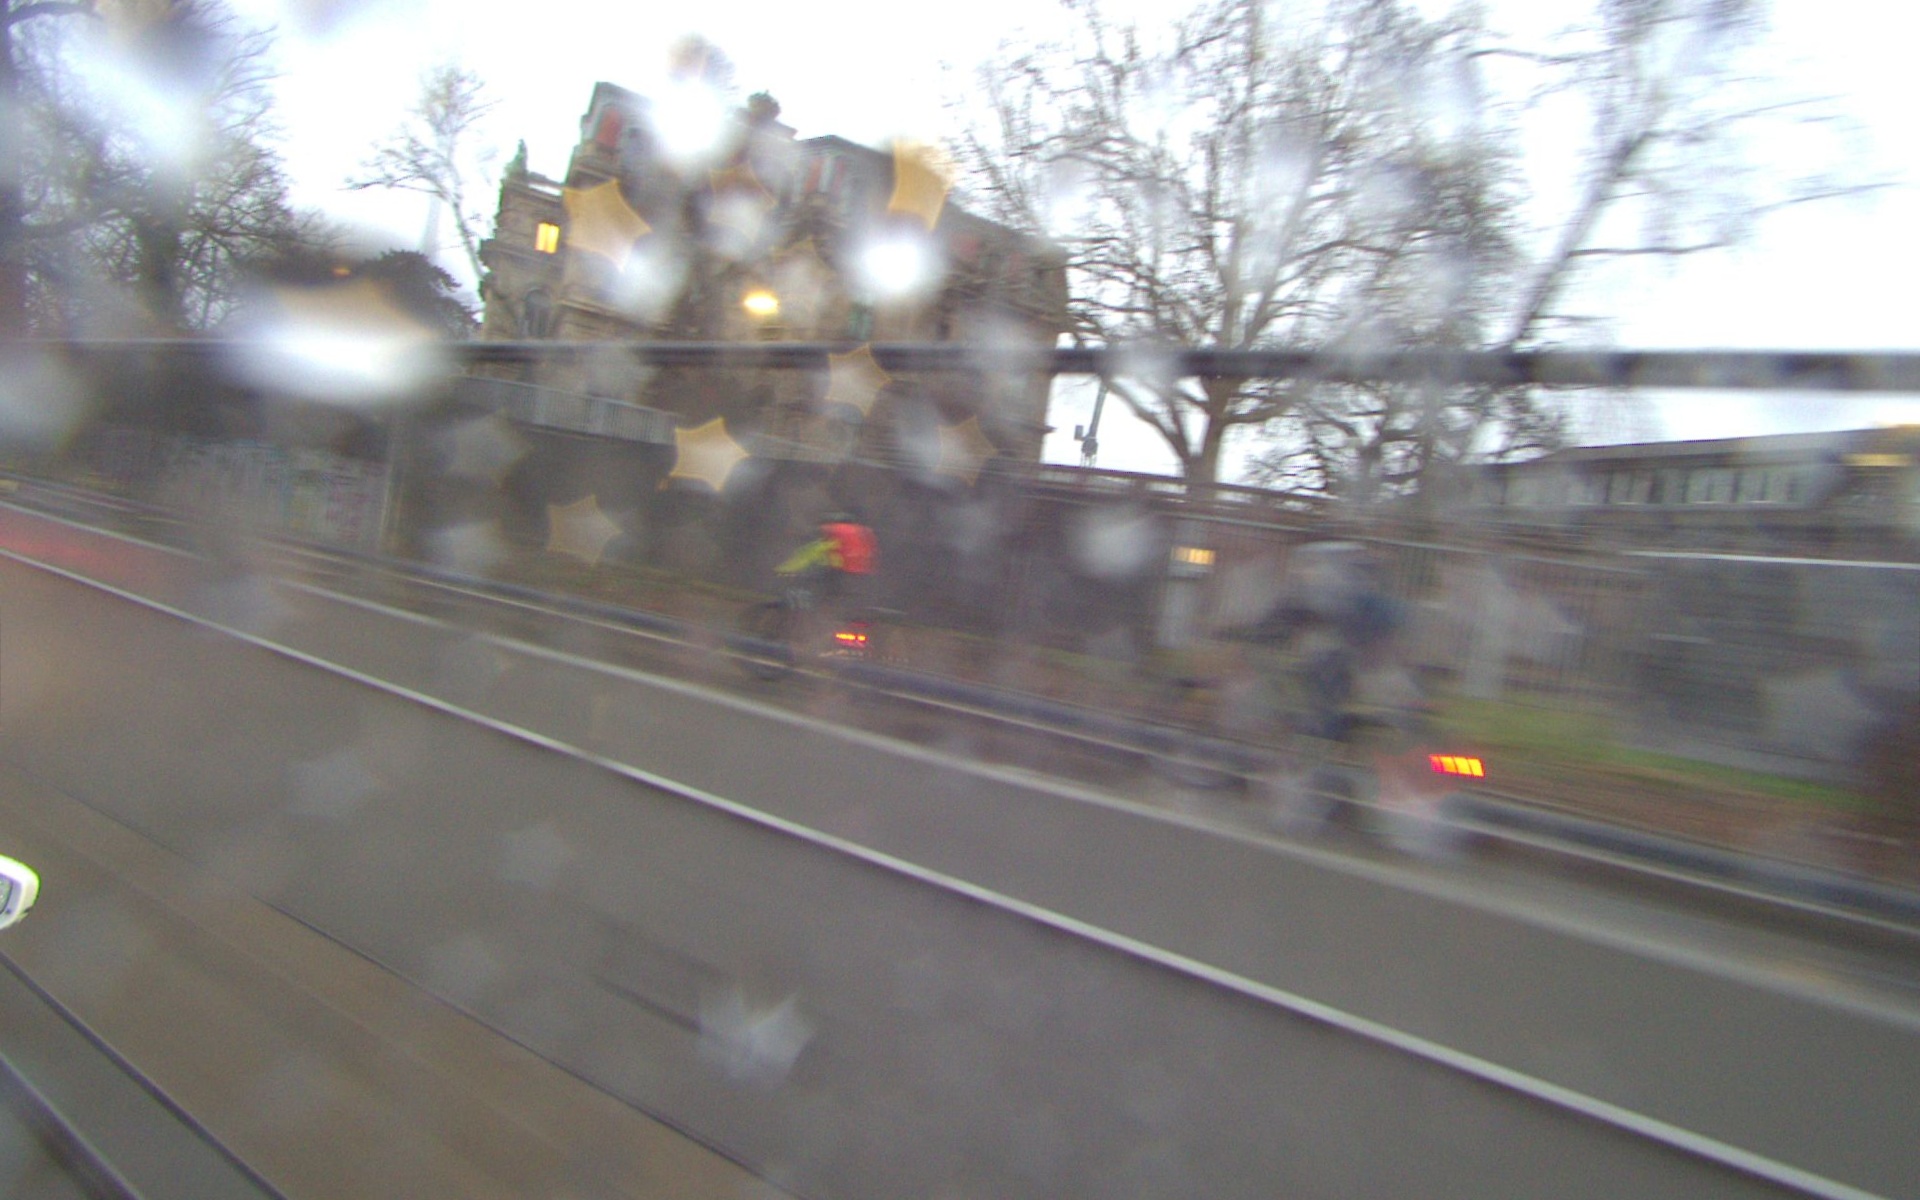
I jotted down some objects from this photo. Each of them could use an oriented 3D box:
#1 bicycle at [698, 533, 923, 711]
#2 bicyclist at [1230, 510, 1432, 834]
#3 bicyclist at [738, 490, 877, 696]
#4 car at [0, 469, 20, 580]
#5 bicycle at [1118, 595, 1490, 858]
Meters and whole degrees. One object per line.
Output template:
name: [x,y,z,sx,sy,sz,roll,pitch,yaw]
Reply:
bicycle: [-1.304,0.155,8.533,1.915,1.200,0.412,10,2,31]
bicyclist: [2.267,0.415,6.152,0.823,1.789,0.500,10,2,31]
bicyclist: [-1.295,-0.057,8.528,0.823,1.611,0.500,10,2,31]
car: [-15.085,-1.360,14.188,3.936,1.496,1.725,9,-2,34]
bicycle: [2.079,0.716,6.266,1.995,1.200,0.412,10,2,31]
